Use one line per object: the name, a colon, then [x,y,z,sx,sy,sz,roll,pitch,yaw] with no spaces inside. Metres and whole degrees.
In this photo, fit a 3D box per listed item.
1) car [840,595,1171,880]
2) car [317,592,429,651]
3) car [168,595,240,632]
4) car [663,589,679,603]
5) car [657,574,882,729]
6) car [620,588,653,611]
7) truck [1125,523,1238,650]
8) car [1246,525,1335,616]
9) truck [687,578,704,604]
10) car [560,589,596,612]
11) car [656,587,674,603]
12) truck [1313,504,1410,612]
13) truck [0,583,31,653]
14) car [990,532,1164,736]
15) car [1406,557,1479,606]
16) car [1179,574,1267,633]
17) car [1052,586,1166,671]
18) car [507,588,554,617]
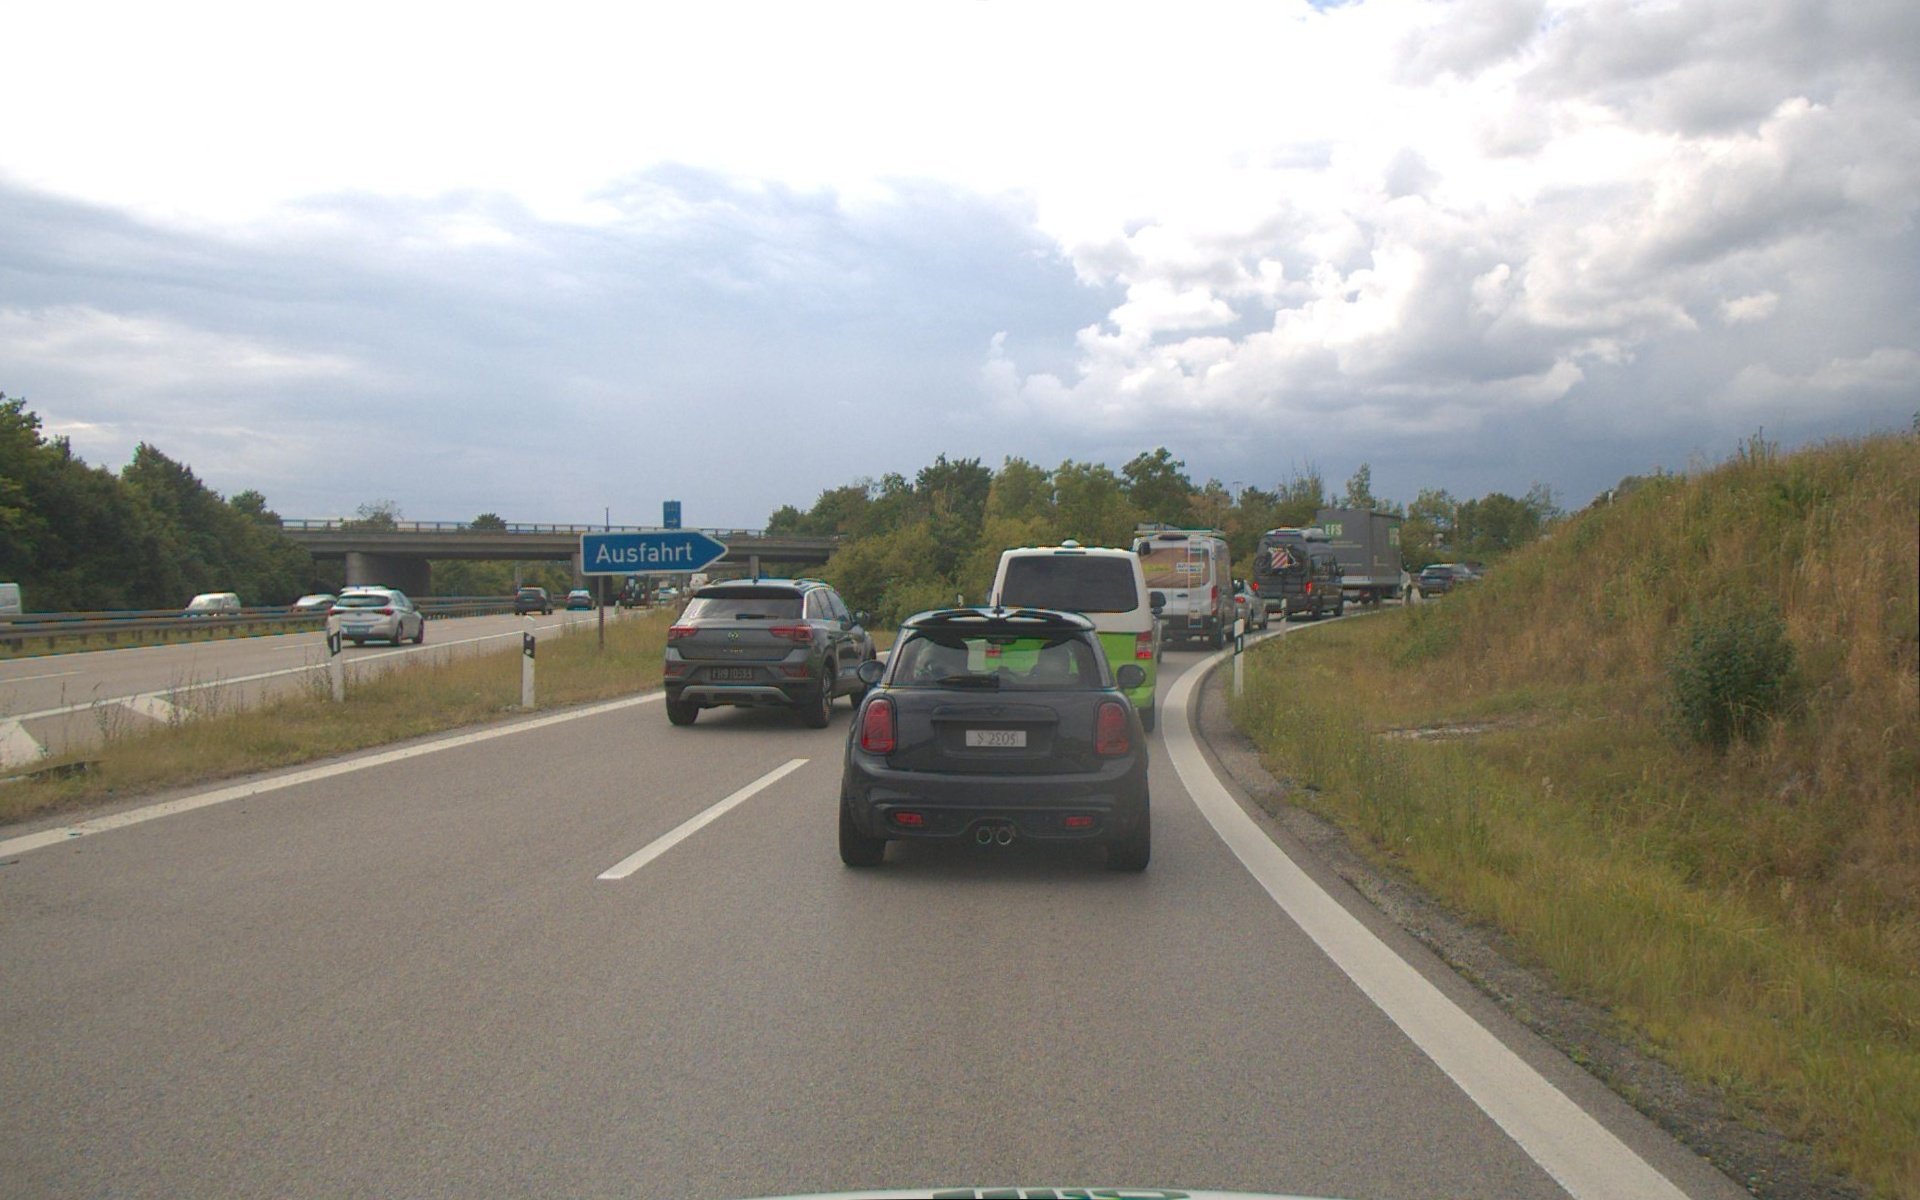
car: [0.271,0.702,10.355,1.691,1.438,3.726,0,0,1]
car: [-15.180,0.519,42.974,1.745,1.423,4.025,-1,0,-5]
car: [-35.310,0.610,77.337,1.956,1.680,3.993,-1,0,-8]
car: [-42.723,-0.623,244.525,1.954,2.002,3.996,1,0,-5]
car: [-2.053,0.534,18.930,1.758,1.583,3.963,0,0,6]
car: [-25.434,-0.048,130.101,2.055,1.700,4.302,-1,0,-5]
truck: [5.162,-0.345,37.918,2.132,2.705,5.113,0,1,12]
car: [10.856,-0.950,54.090,2.062,2.845,3.999,1,1,23]
truck: [-36.681,-1.246,229.218,2.104,3.569,3.994,1,0,-6]
car: [-29.395,0.008,127.369,2.118,1.700,4.302,-1,0,-5]
car: [-39.348,-0.671,220.434,1.954,2.002,3.996,1,0,-5]
truck: [15.630,-1.542,64.171,2.186,3.975,6.006,1,-1,28]
truck: [-29.013,0.534,47.976,1.956,2.049,4.711,-1,0,-8]
car: [1.352,0.328,18.722,1.746,2.049,4.003,0,0,5]
car: [21.404,-0.795,73.273,1.959,2.049,3.986,1,-1,35]
car: [7.312,0.080,45.714,1.827,1.536,4.002,0,0,18]
car: [2.745,0.474,29.734,1.724,1.423,3.728,0,0,10]
car: [-26.472,0.139,102.102,2.055,1.700,4.302,-1,0,-5]
